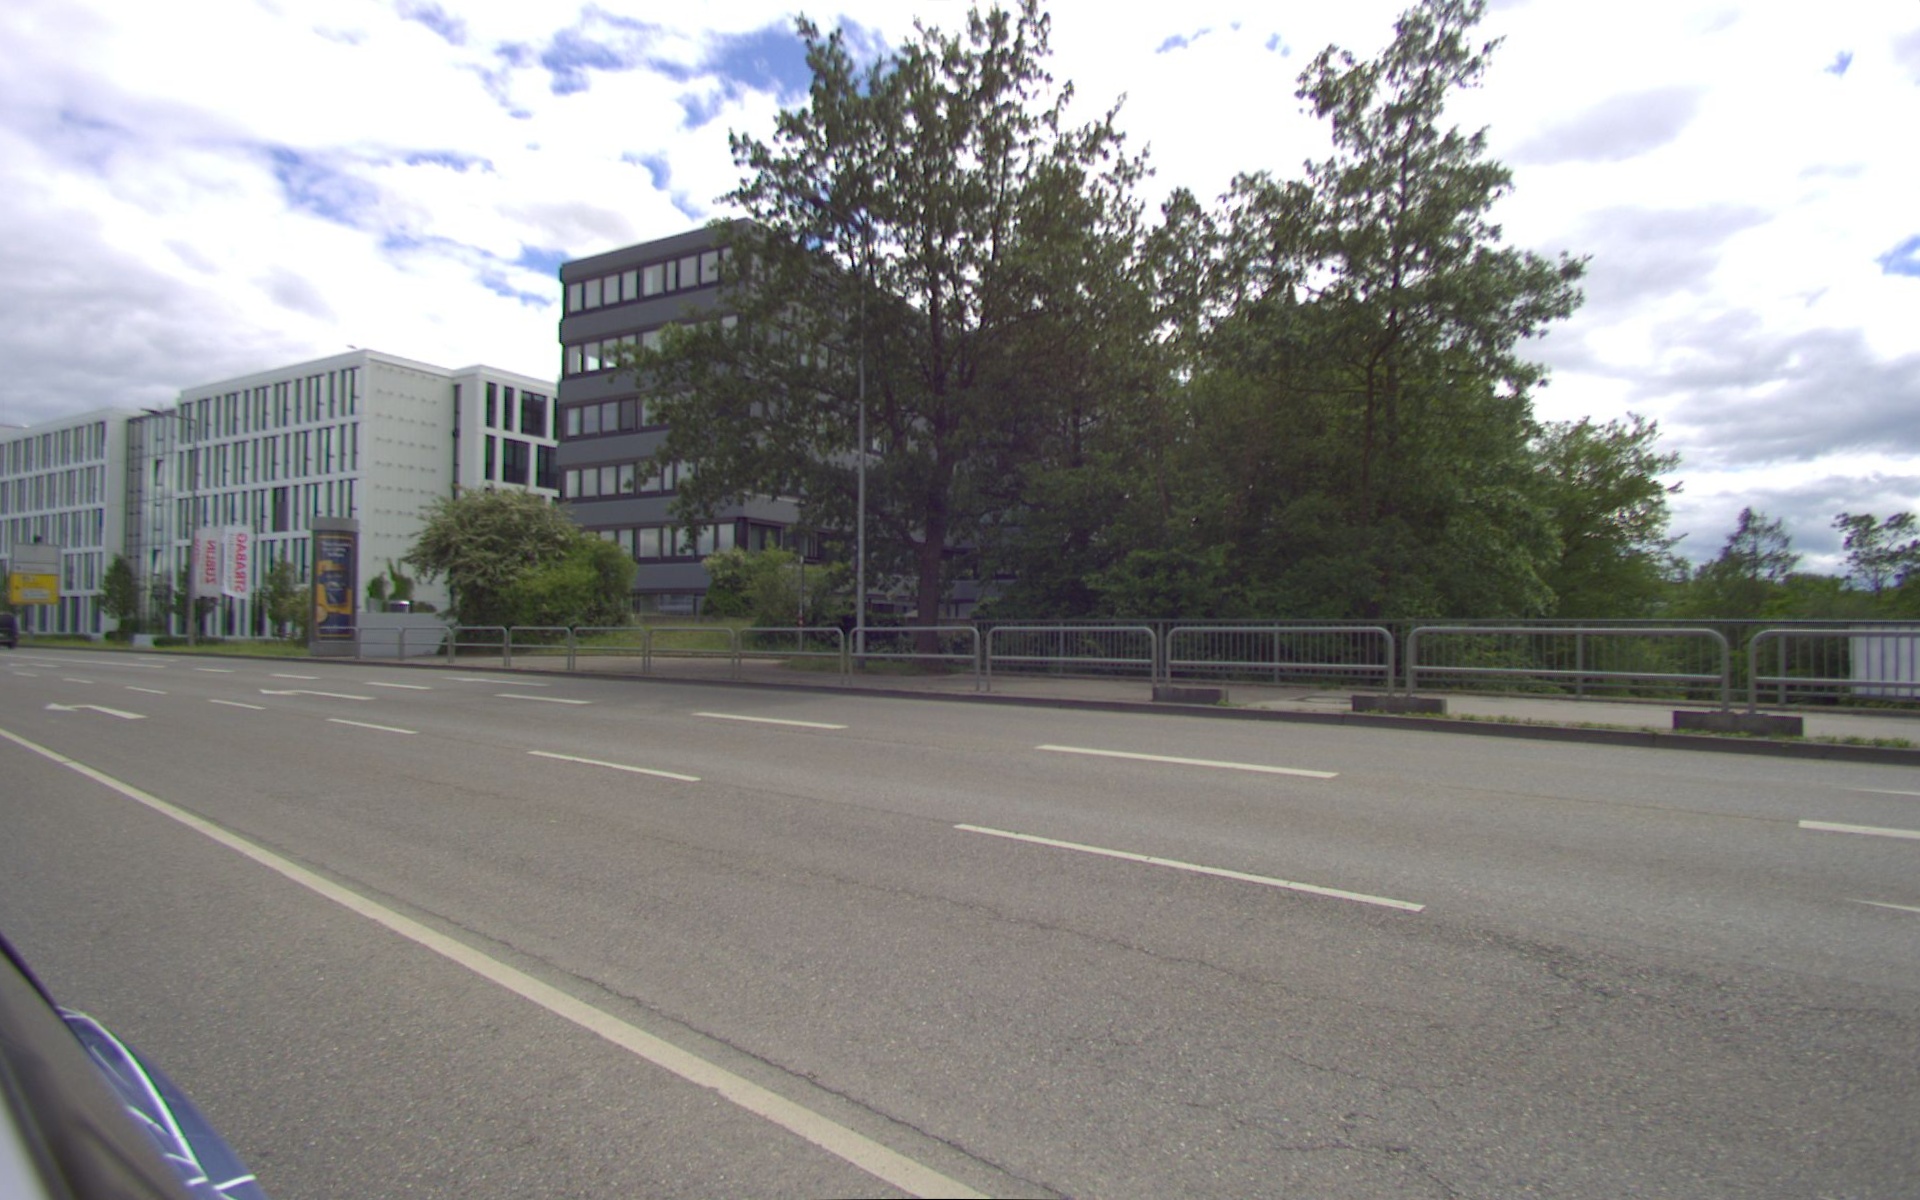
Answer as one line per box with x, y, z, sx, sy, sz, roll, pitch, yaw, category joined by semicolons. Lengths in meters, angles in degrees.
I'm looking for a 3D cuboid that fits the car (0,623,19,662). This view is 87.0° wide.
-51.304;2.212;53.083;5.357;1.962;1.999;-2;-2;38;car
